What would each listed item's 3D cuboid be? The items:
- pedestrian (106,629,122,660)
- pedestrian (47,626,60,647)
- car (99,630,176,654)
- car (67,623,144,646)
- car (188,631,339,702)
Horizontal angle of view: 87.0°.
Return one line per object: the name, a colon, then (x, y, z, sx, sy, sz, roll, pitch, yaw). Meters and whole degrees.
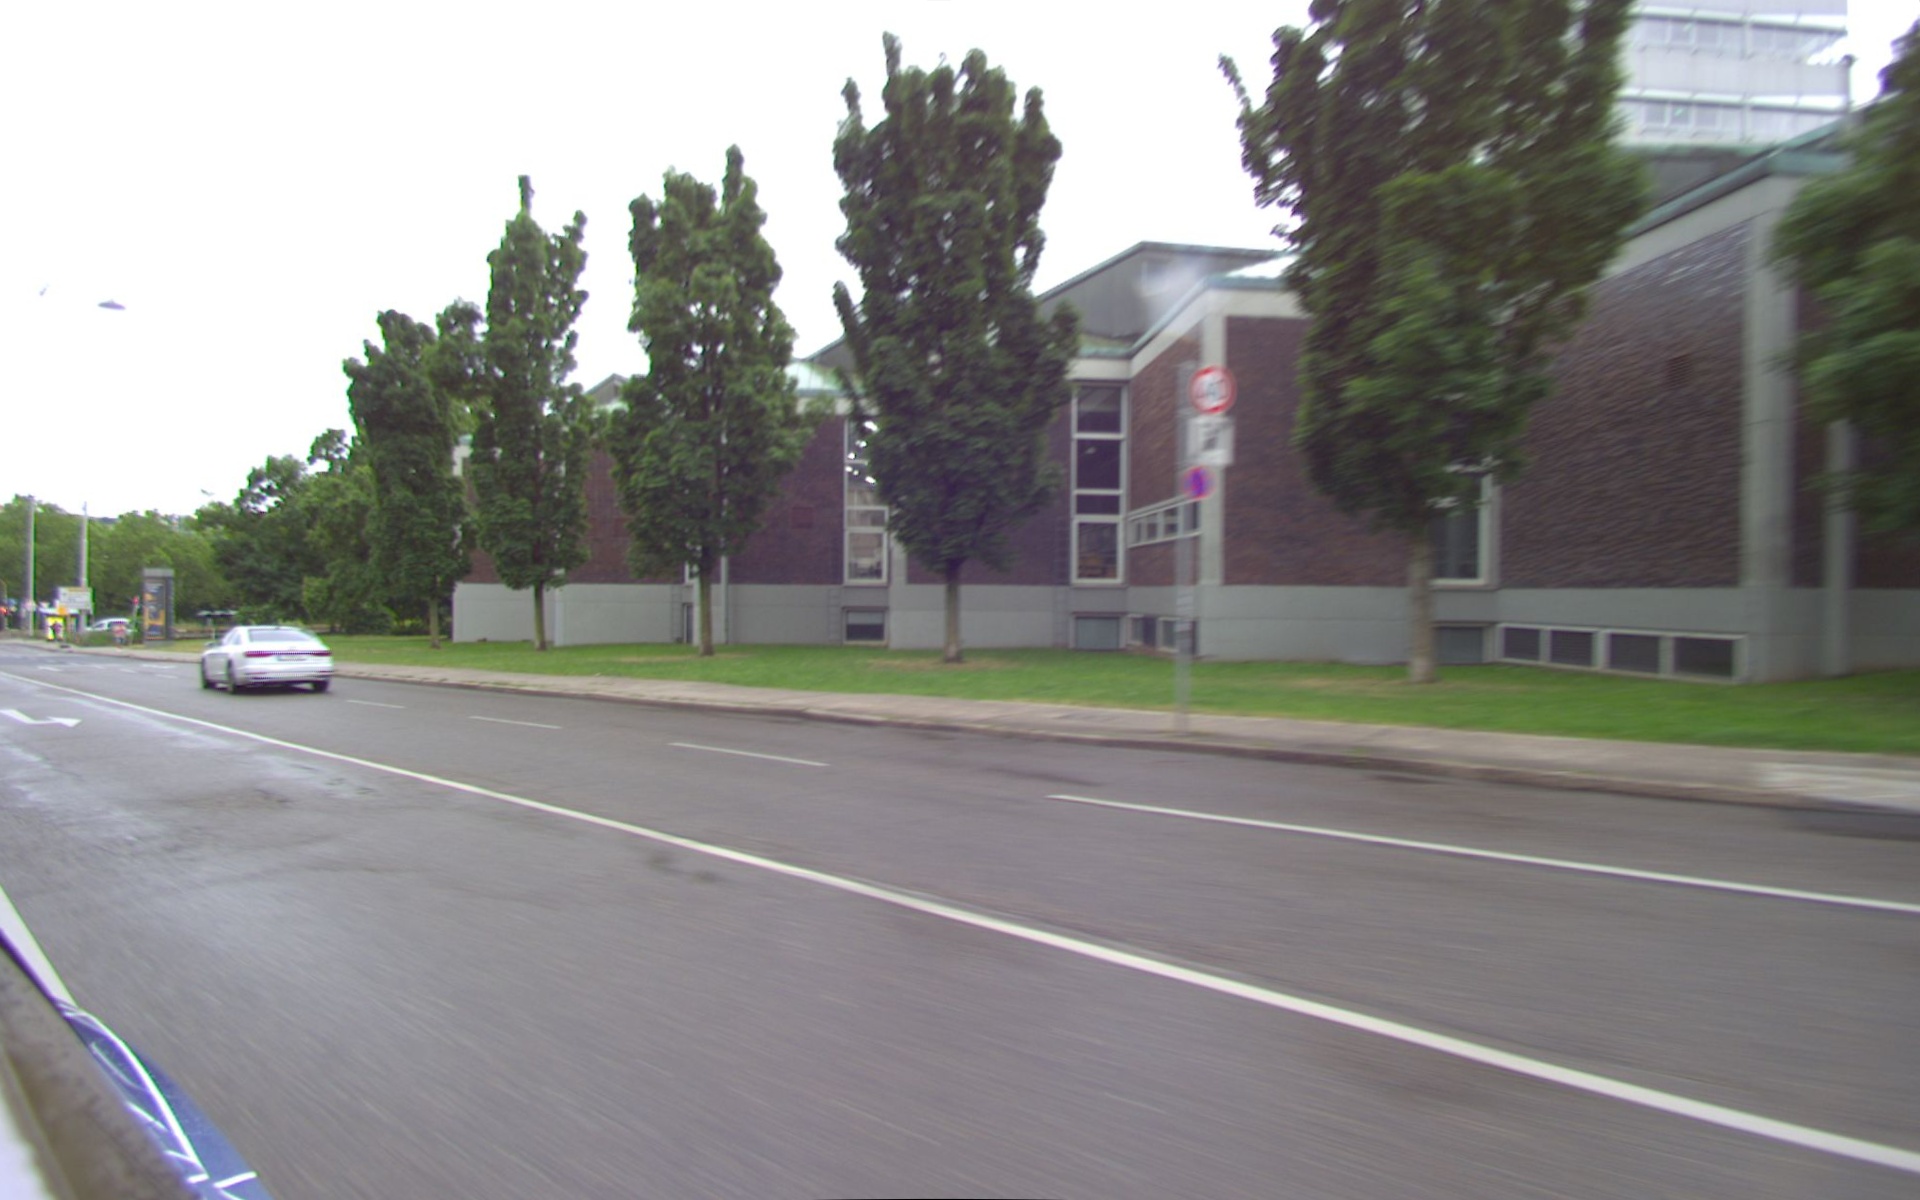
pedestrian: (-47.694, 2.492, 57.035, 0.662, 1.699, 0.914, -1, 0, -42)
pedestrian: (-73.400, 2.949, 81.949, 0.641, 1.708, 0.622, -1, 0, 33)
car: (-60.917, 3.119, 74.982, 4.473, 1.621, 1.864, -1, 0, 8)
car: (-73.111, 2.922, 86.625, 4.649, 1.768, 2.019, -1, 0, -7)
car: (-16.403, 1.500, 23.723, 5.221, 1.502, 1.860, -2, -4, 44)
